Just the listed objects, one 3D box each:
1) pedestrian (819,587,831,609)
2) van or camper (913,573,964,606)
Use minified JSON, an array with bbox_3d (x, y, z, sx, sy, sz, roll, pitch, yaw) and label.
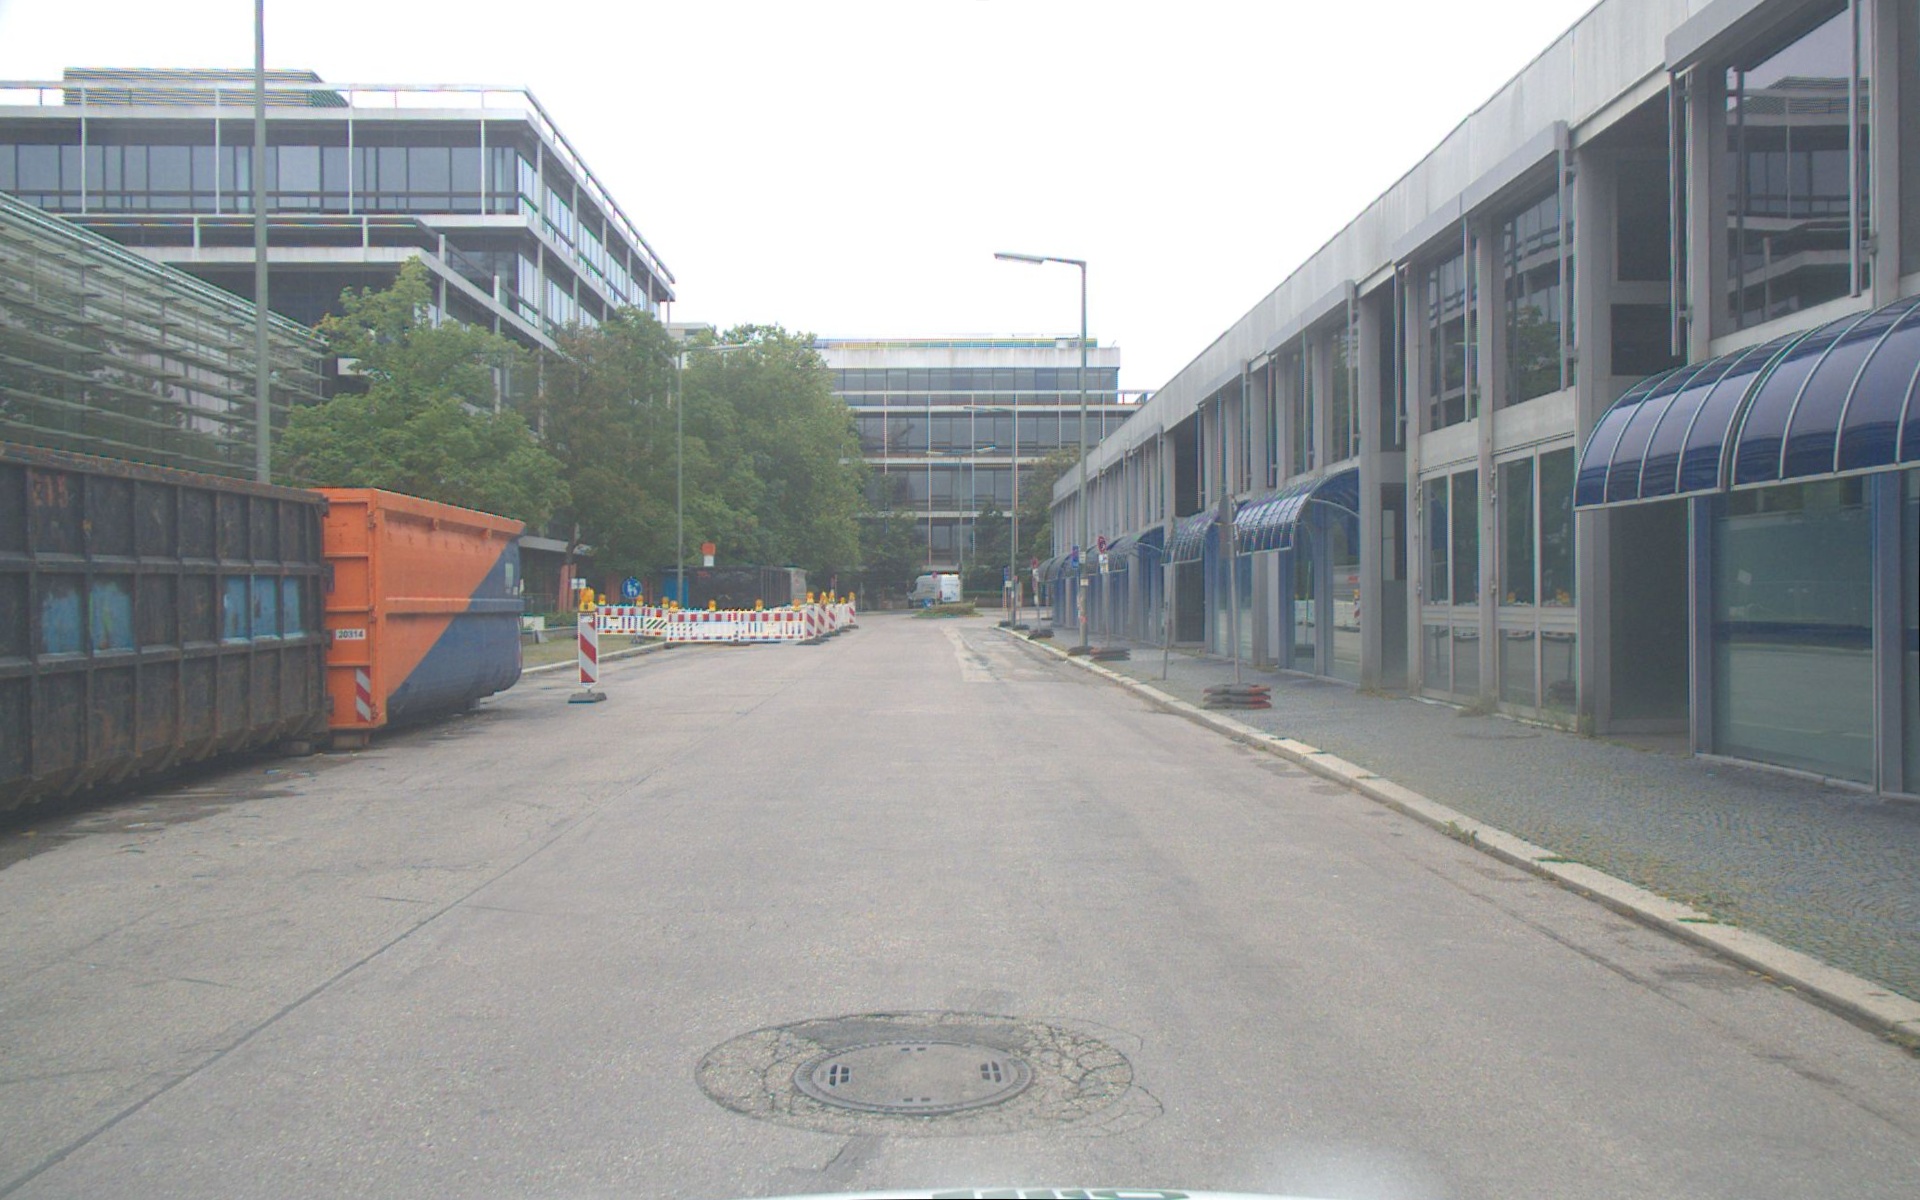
[{"bbox_3d":[-10.560,-0.195,129.184,0.730,1.706,0.678,0,0,-21],"label":"pedestrian"},{"bbox_3d":[-1.712,-0.851,130.680,2.060,2.535,5.024,-1,0,-26],"label":"van or camper"}]
